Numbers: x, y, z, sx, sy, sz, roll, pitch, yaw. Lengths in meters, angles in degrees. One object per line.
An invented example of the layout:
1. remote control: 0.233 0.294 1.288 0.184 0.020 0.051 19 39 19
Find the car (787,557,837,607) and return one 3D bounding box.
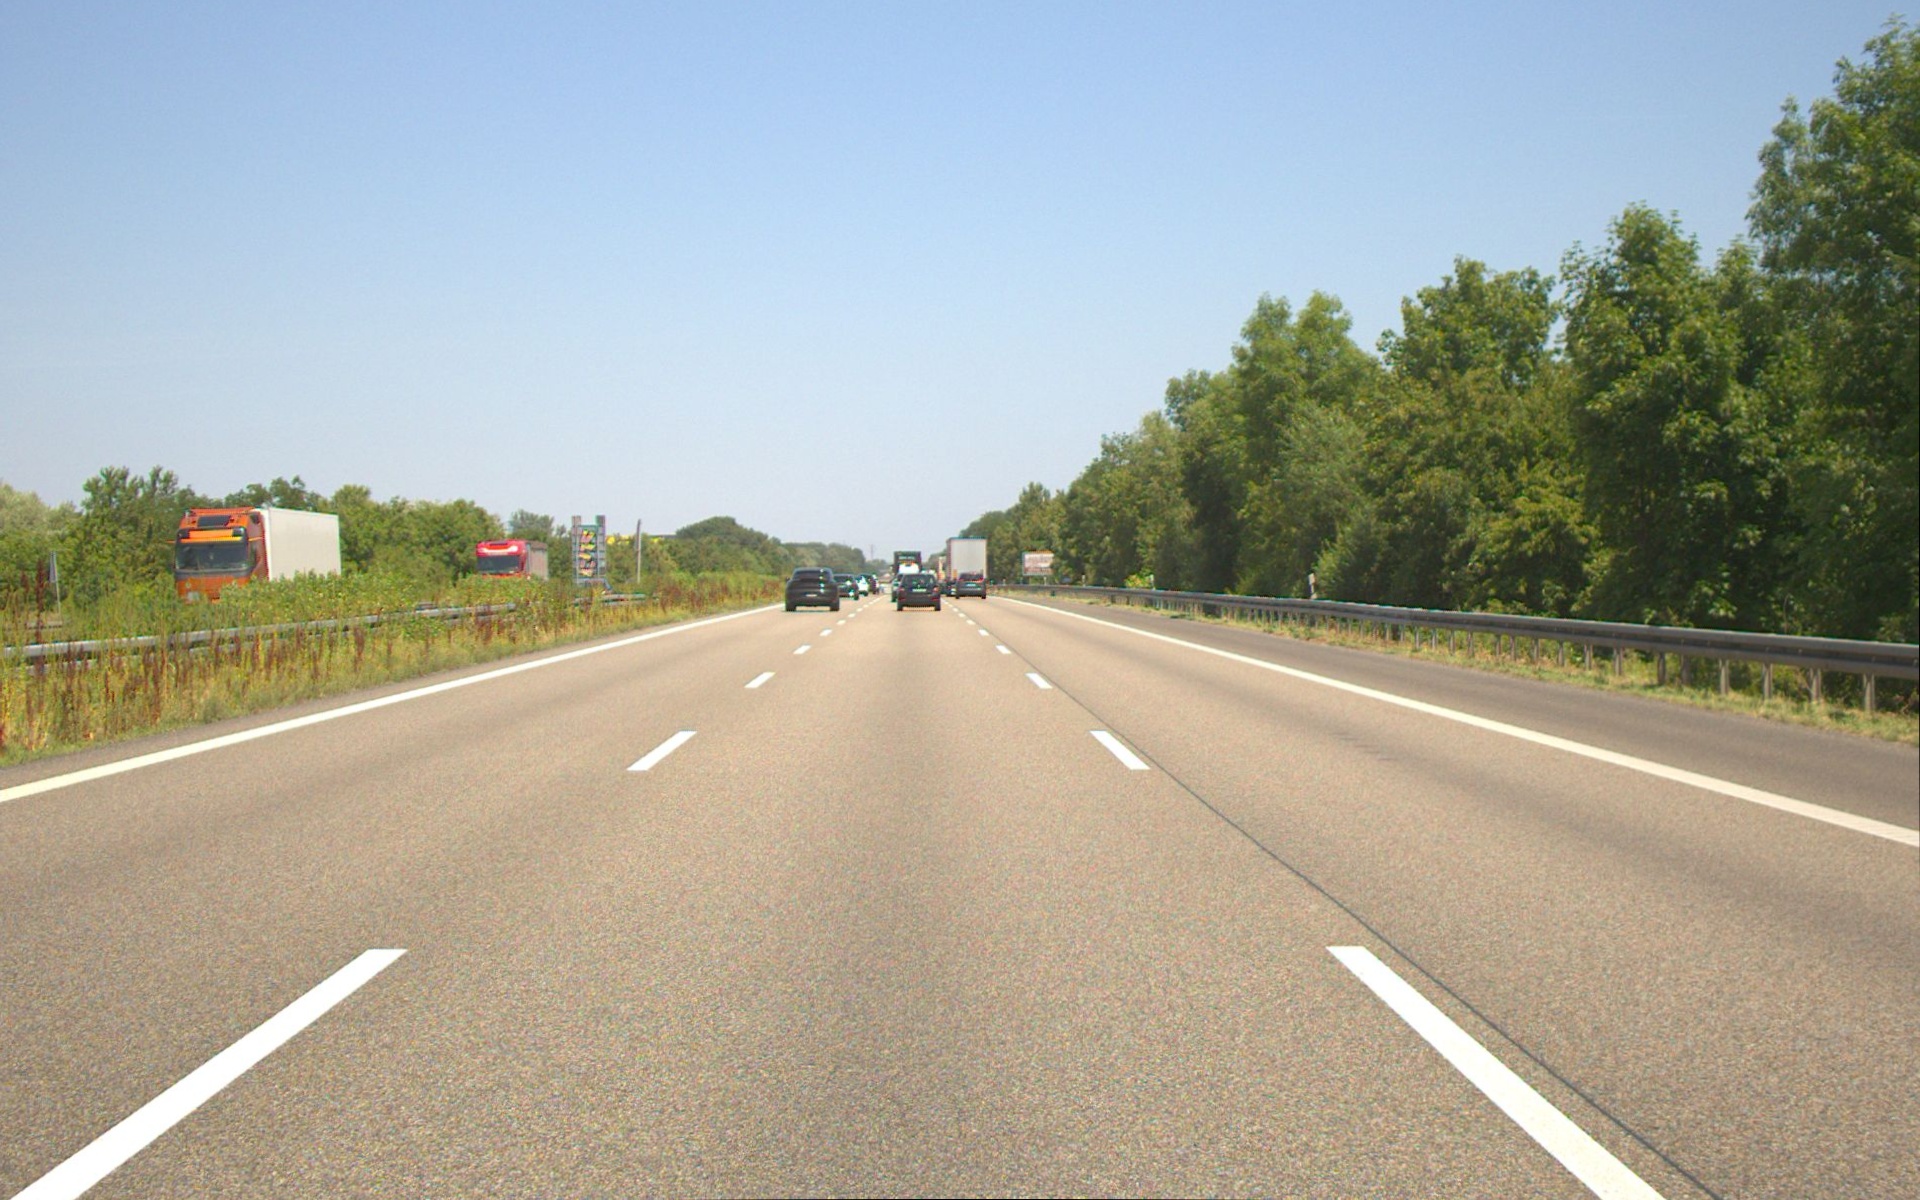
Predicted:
1. car: -5.625 -0.712 130.993 1.880 1.786 4.001 -1 2 -2

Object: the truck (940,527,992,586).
1. truck: 0.384 -2.998 238.043 3.385 3.957 9.537 -1 1 0

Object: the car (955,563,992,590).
1. car: 0.798 -1.408 206.624 2.128 1.578 4.304 -1 1 0

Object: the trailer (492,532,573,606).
1. trailer: -23.441 -1.721 189.031 3.078 3.856 10.907 -1 1 0

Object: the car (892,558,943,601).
1. car: -1.623 -0.792 132.106 1.903 1.578 4.304 -1 1 0

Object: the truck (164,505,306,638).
1. truck: -22.752 -0.910 108.269 2.732 3.922 7.416 -3 1 0

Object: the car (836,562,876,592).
1. car: -5.982 -1.322 197.538 2.128 1.640 4.304 -1 1 0

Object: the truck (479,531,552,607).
1. truck: -23.447 -1.630 181.536 3.078 3.856 5.591 -1 1 0
